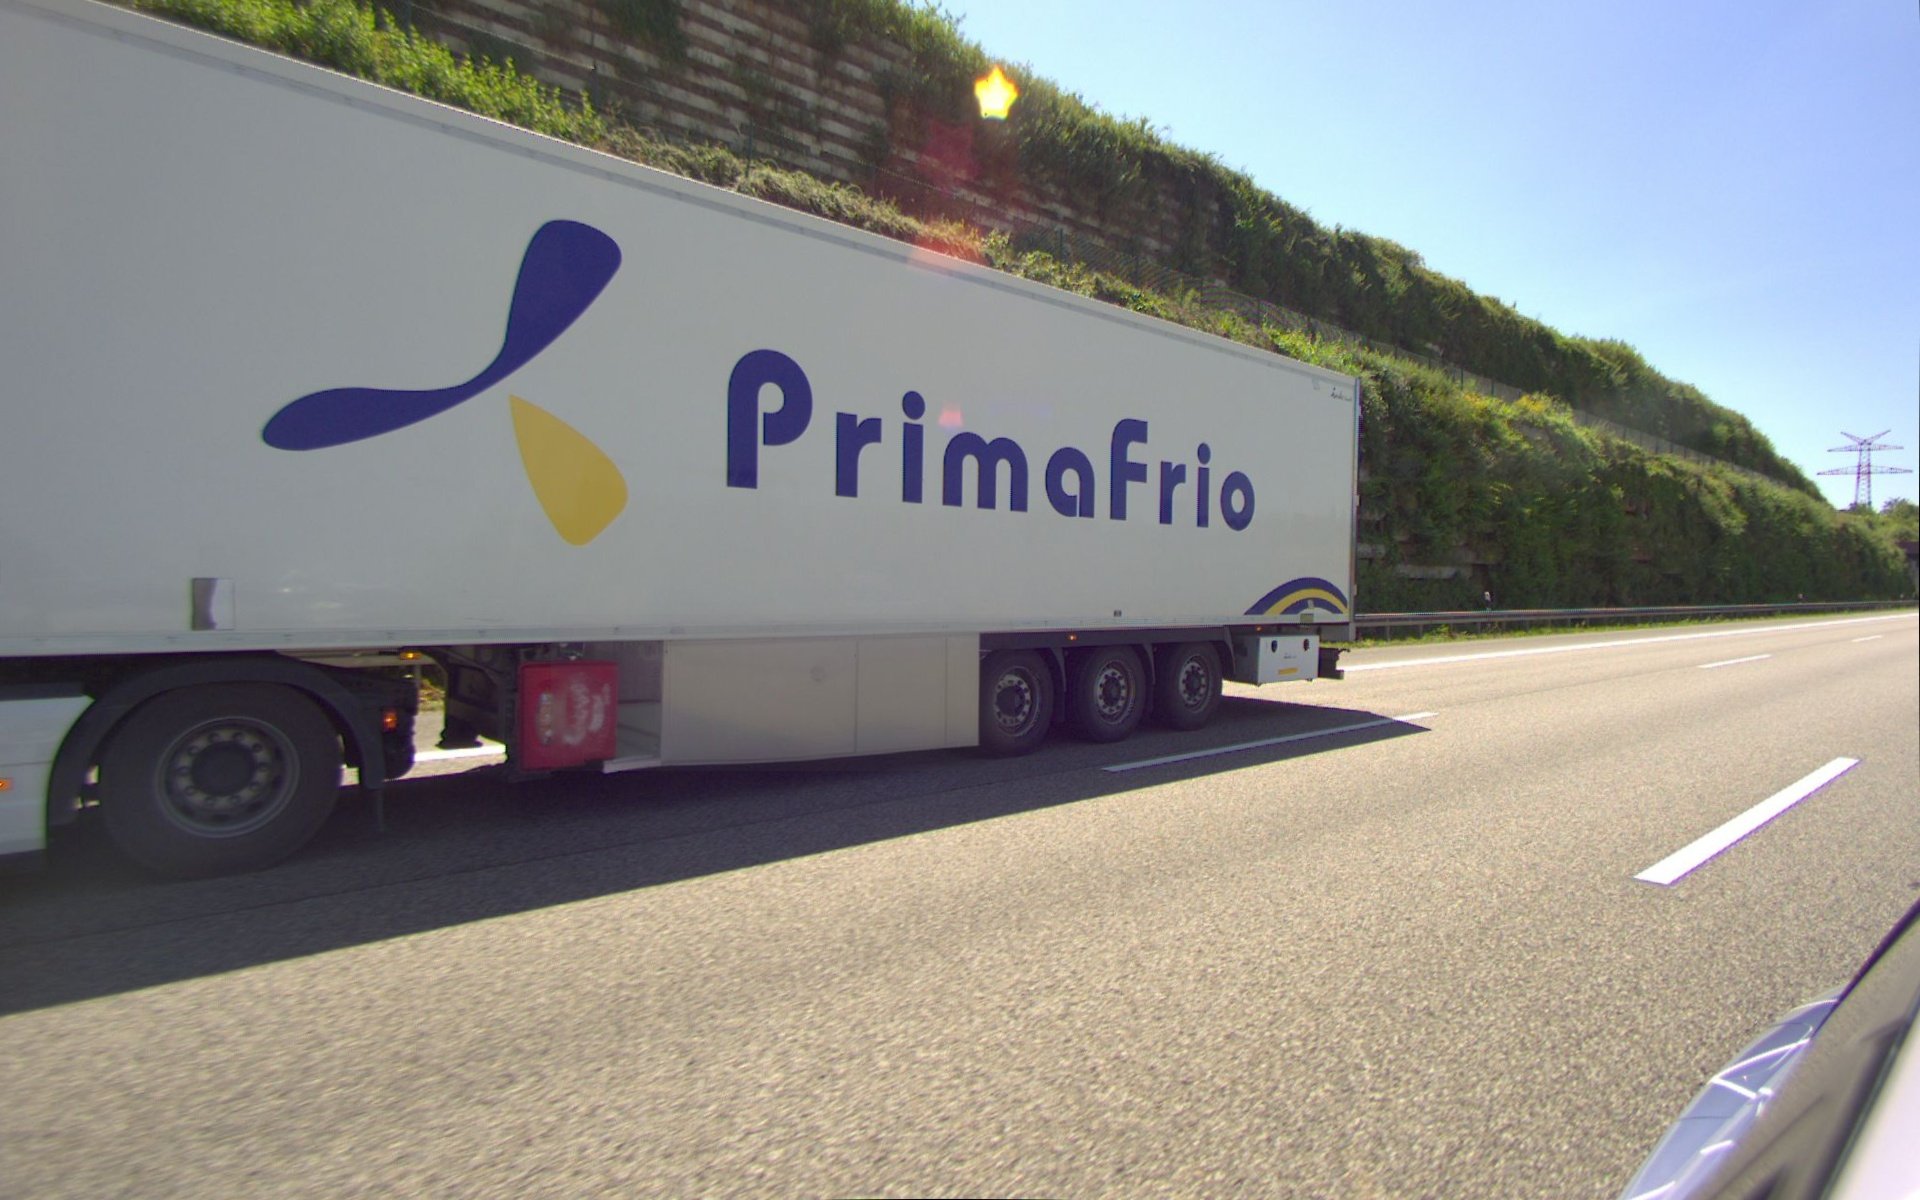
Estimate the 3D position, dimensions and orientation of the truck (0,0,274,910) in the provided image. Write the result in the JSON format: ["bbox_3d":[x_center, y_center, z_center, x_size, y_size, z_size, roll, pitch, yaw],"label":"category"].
[{"bbox_3d":[-6.478,-0.831,3.900,6.145,4.272,2.513,-1,2,-40],"label":"truck"}]

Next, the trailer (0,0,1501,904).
[{"bbox_3d":[0.588,-0.901,10.026,16.728,4.264,2.519,0,2,-41],"label":"trailer"}]
